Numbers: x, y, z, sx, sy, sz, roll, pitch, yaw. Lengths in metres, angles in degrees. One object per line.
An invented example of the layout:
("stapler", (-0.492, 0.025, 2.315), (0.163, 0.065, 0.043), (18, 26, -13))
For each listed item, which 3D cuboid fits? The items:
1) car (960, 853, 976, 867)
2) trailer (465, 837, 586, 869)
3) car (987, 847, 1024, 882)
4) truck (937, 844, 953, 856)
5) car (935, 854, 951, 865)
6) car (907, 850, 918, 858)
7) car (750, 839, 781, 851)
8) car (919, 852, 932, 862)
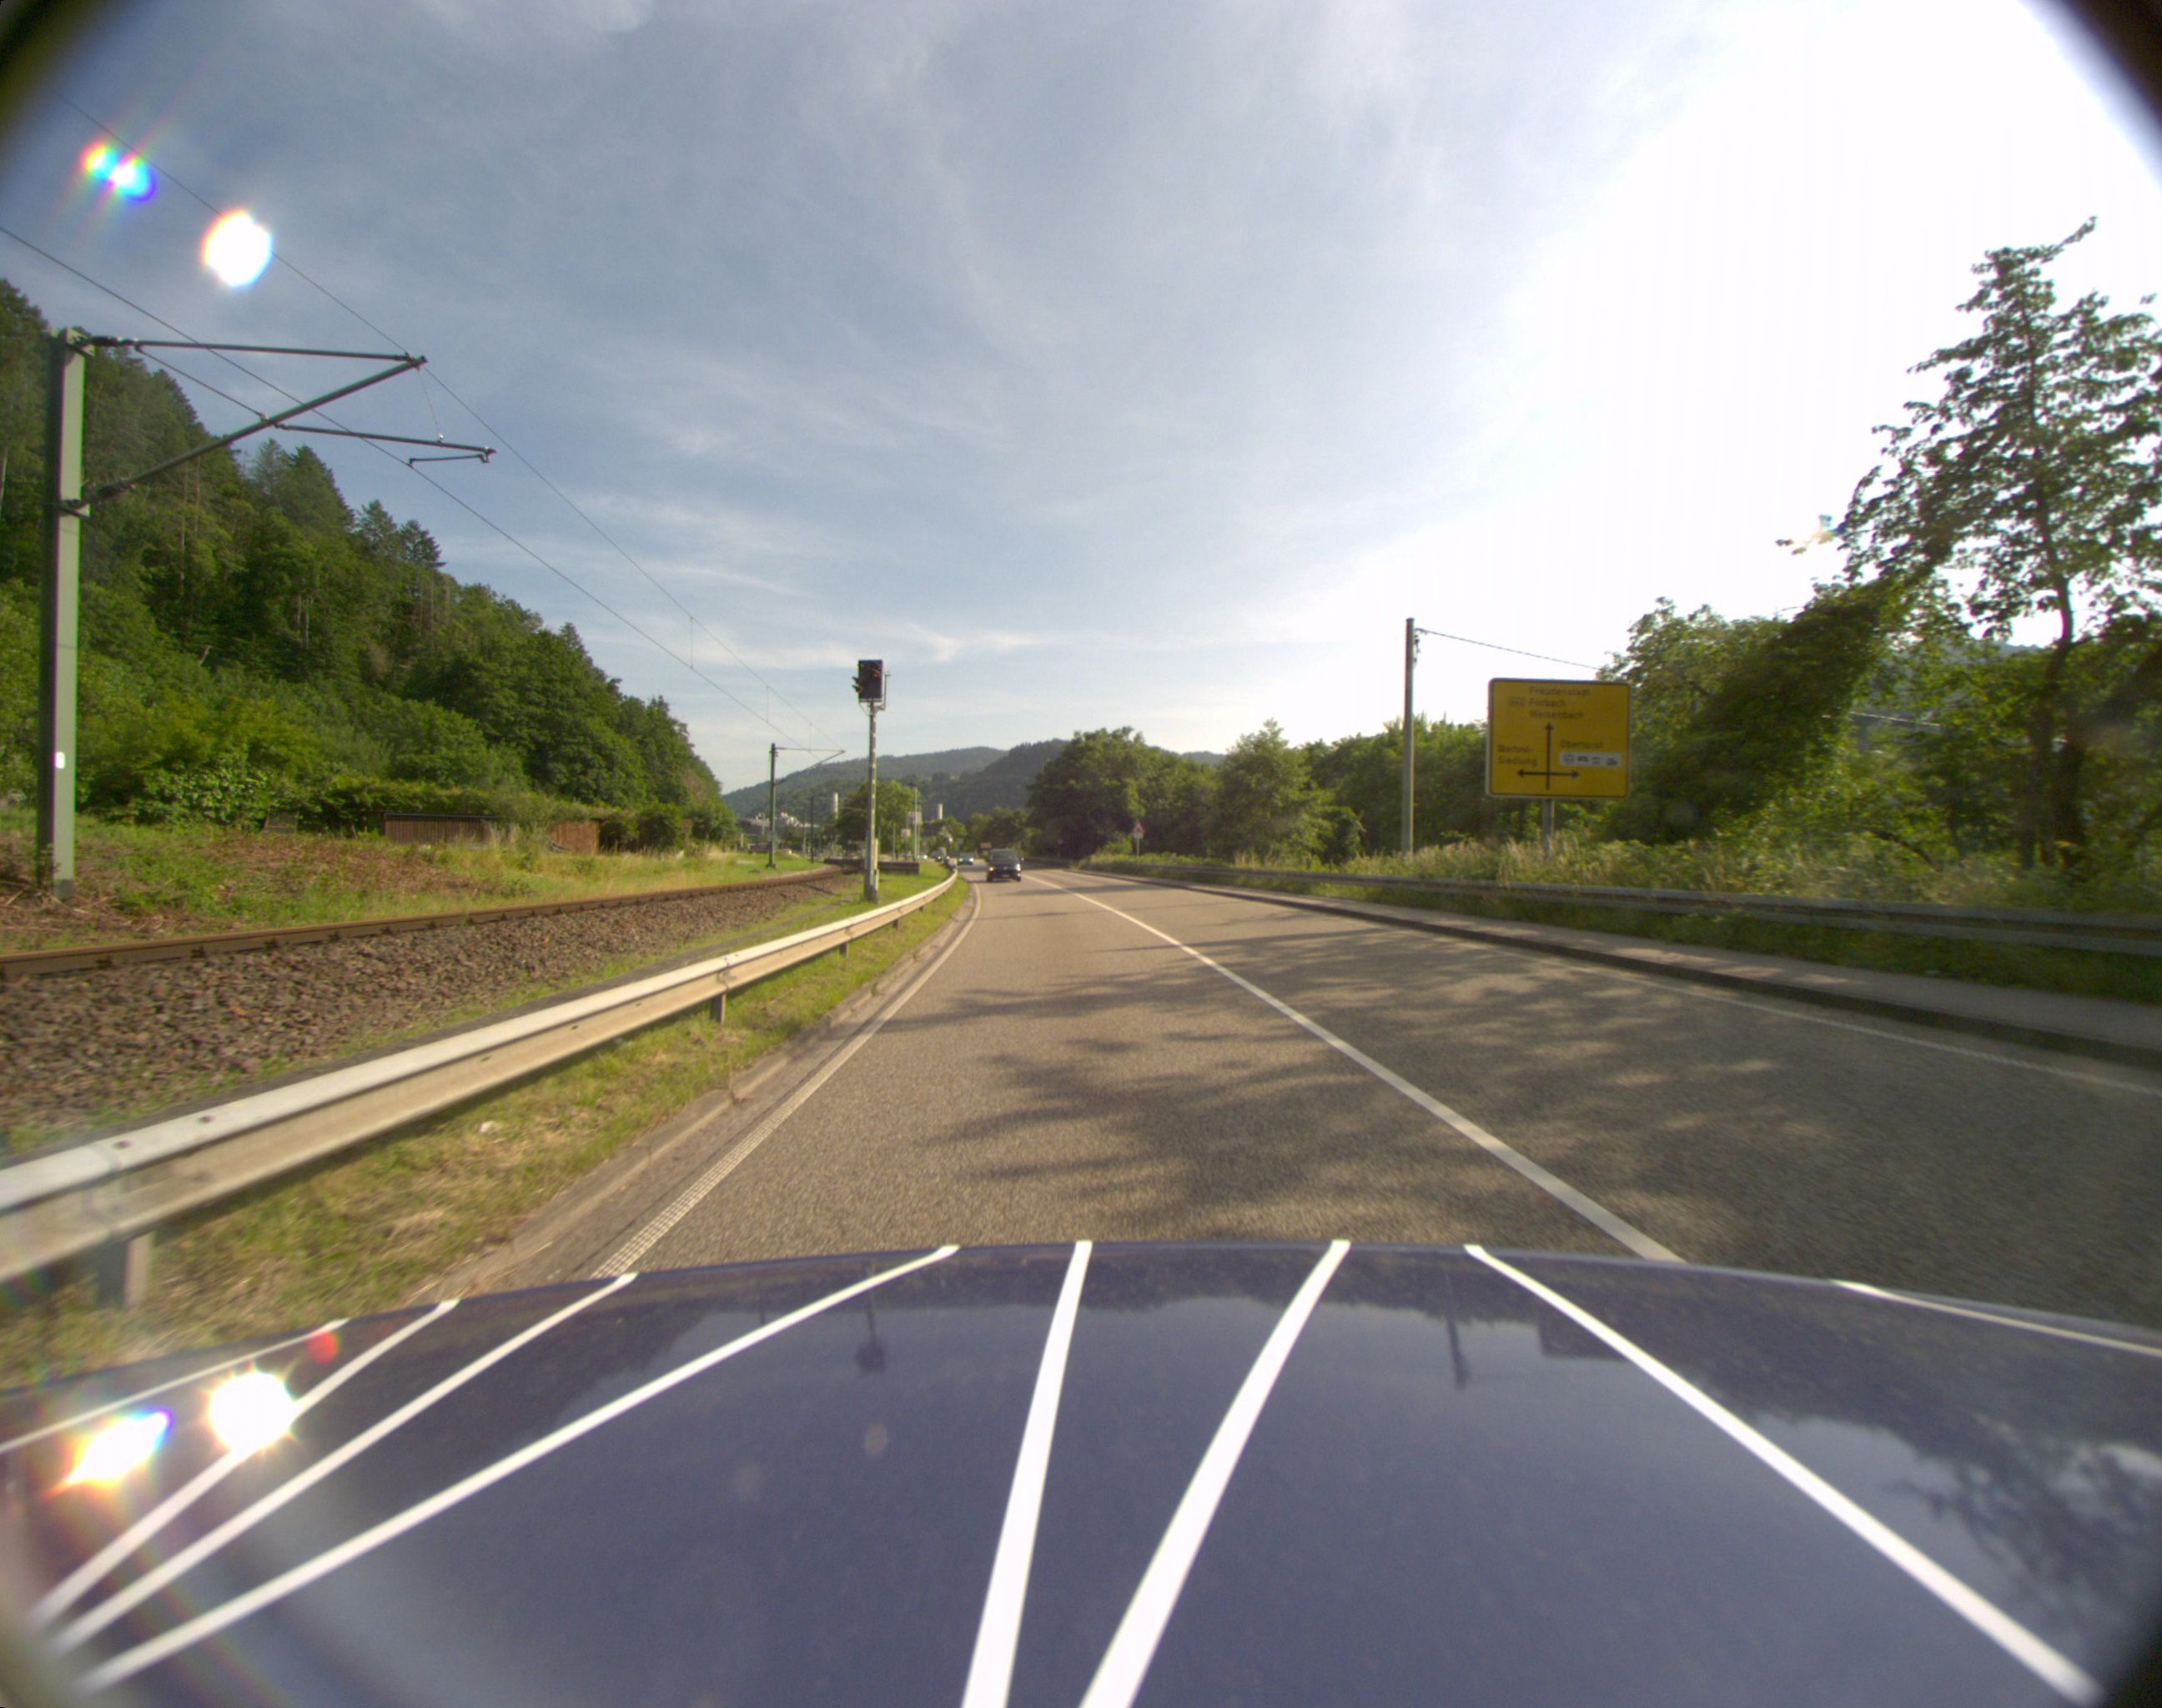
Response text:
("car", (-14.440, 0.756, 97.223), (1.886, 1.735, 4.175), (-2, 0, -9))
("trailer", (-25.975, 0.001, 35.737), (4.106, 1.026, 2.321), (6, -4, -23))
("car", (-4.609, 0.575, 45.901), (2.020, 1.905, 4.308), (-1, 1, -8))
("truck", (-28.395, -0.801, 158.975), (1.889, 2.272, 4.709), (-1, 0, -28))
("car", (-22.561, 0.893, 124.218), (1.888, 1.735, 4.172), (-2, 0, -18))
("car", (-40.399, -0.007, 181.777), (1.888, 1.735, 4.171), (-1, 0, -22))
("car", (-57.949, -1.621, 139.636), (4.979, 2.002, 1.996), (-3, 2, -21))
("car", (-29.476, 0.560, 143.815), (1.888, 1.735, 4.172), (-2, 0, -18))
